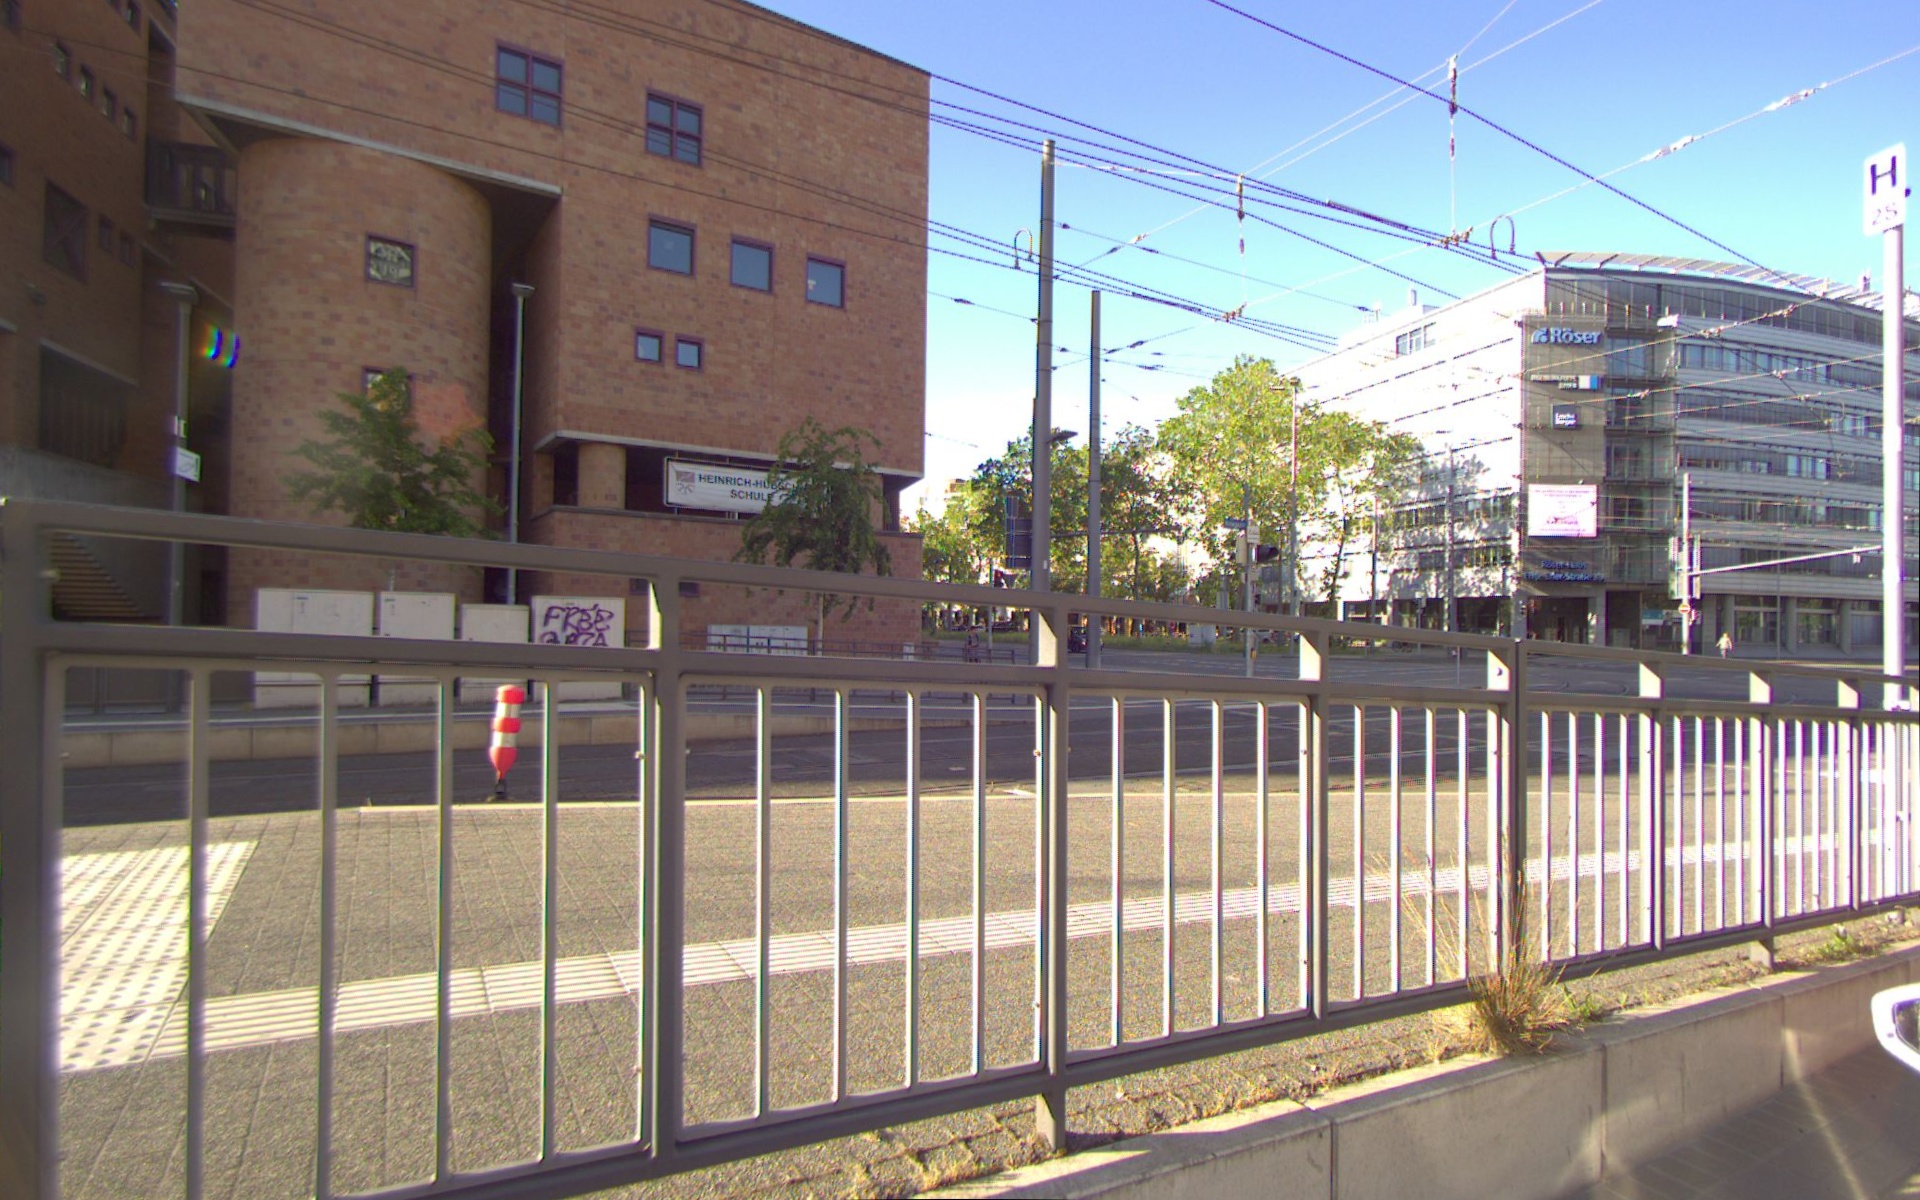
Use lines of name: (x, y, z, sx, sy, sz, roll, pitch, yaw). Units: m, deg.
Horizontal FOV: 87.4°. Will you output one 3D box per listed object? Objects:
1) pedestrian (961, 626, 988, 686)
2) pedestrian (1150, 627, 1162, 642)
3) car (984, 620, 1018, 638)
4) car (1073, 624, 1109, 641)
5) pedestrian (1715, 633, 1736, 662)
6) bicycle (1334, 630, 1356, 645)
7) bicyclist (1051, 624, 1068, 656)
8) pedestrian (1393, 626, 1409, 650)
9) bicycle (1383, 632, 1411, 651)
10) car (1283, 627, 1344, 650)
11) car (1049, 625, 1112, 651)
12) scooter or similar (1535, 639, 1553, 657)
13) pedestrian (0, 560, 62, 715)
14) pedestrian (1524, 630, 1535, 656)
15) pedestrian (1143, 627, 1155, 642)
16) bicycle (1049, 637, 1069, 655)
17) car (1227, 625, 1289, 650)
pedestrian: (0.414, 1.554, 28.083, 0.501, 1.638, 0.504, 2, 0, -40)
pedestrian: (21.129, 3.731, 108.110, 0.861, 1.567, 0.988, 2, -1, -25)
car: (4.783, 3.401, 117.280, 2.011, 2.003, 4.382, 0, -1, -29)
car: (13.288, 3.297, 102.074, 1.840, 1.660, 3.844, 1, -1, -25)
pedestrian: (48.902, 3.044, 64.195, 0.872, 1.847, 0.674, 2, -2, -20)
bicycle: (30.361, 2.971, 79.181, 1.812, 1.167, 0.467, 0, 0, -23)
bicyclist: (5.206, 2.077, 52.569, 0.614, 1.643, 0.812, 2, -1, -16)
pedestrian: (31.012, 2.695, 70.588, 0.599, 1.633, 0.831, -2, 2, -28)
bicycle: (30.648, 2.902, 70.450, 0.605, 1.179, 1.835, -2, 1, -27)
car: (26.907, 2.907, 76.590, 1.840, 1.594, 4.387, -1, 0, -25)
car: (6.786, 2.132, 56.724, 1.637, 1.346, 3.591, 2, 0, -31)
scooter or similar: (38.376, 3.138, 66.038, 1.001, 1.144, 0.549, 0, -1, 32)
pedestrian: (-9.843, 0.384, 10.412, 0.647, 1.555, 0.696, 1, -1, -33)
pedestrian: (37.691, 2.849, 66.481, 0.627, 1.731, 0.580, 0, -1, 31)
pedestrian: (20.536, 3.720, 109.294, 0.860, 1.567, 0.989, 1, -1, -22)
bicycle: (5.167, 2.398, 52.564, 0.528, 0.925, 1.564, 1, -1, -15)
car: (24.046, 2.972, 81.156, 1.904, 1.868, 4.889, -1, 0, -28)
